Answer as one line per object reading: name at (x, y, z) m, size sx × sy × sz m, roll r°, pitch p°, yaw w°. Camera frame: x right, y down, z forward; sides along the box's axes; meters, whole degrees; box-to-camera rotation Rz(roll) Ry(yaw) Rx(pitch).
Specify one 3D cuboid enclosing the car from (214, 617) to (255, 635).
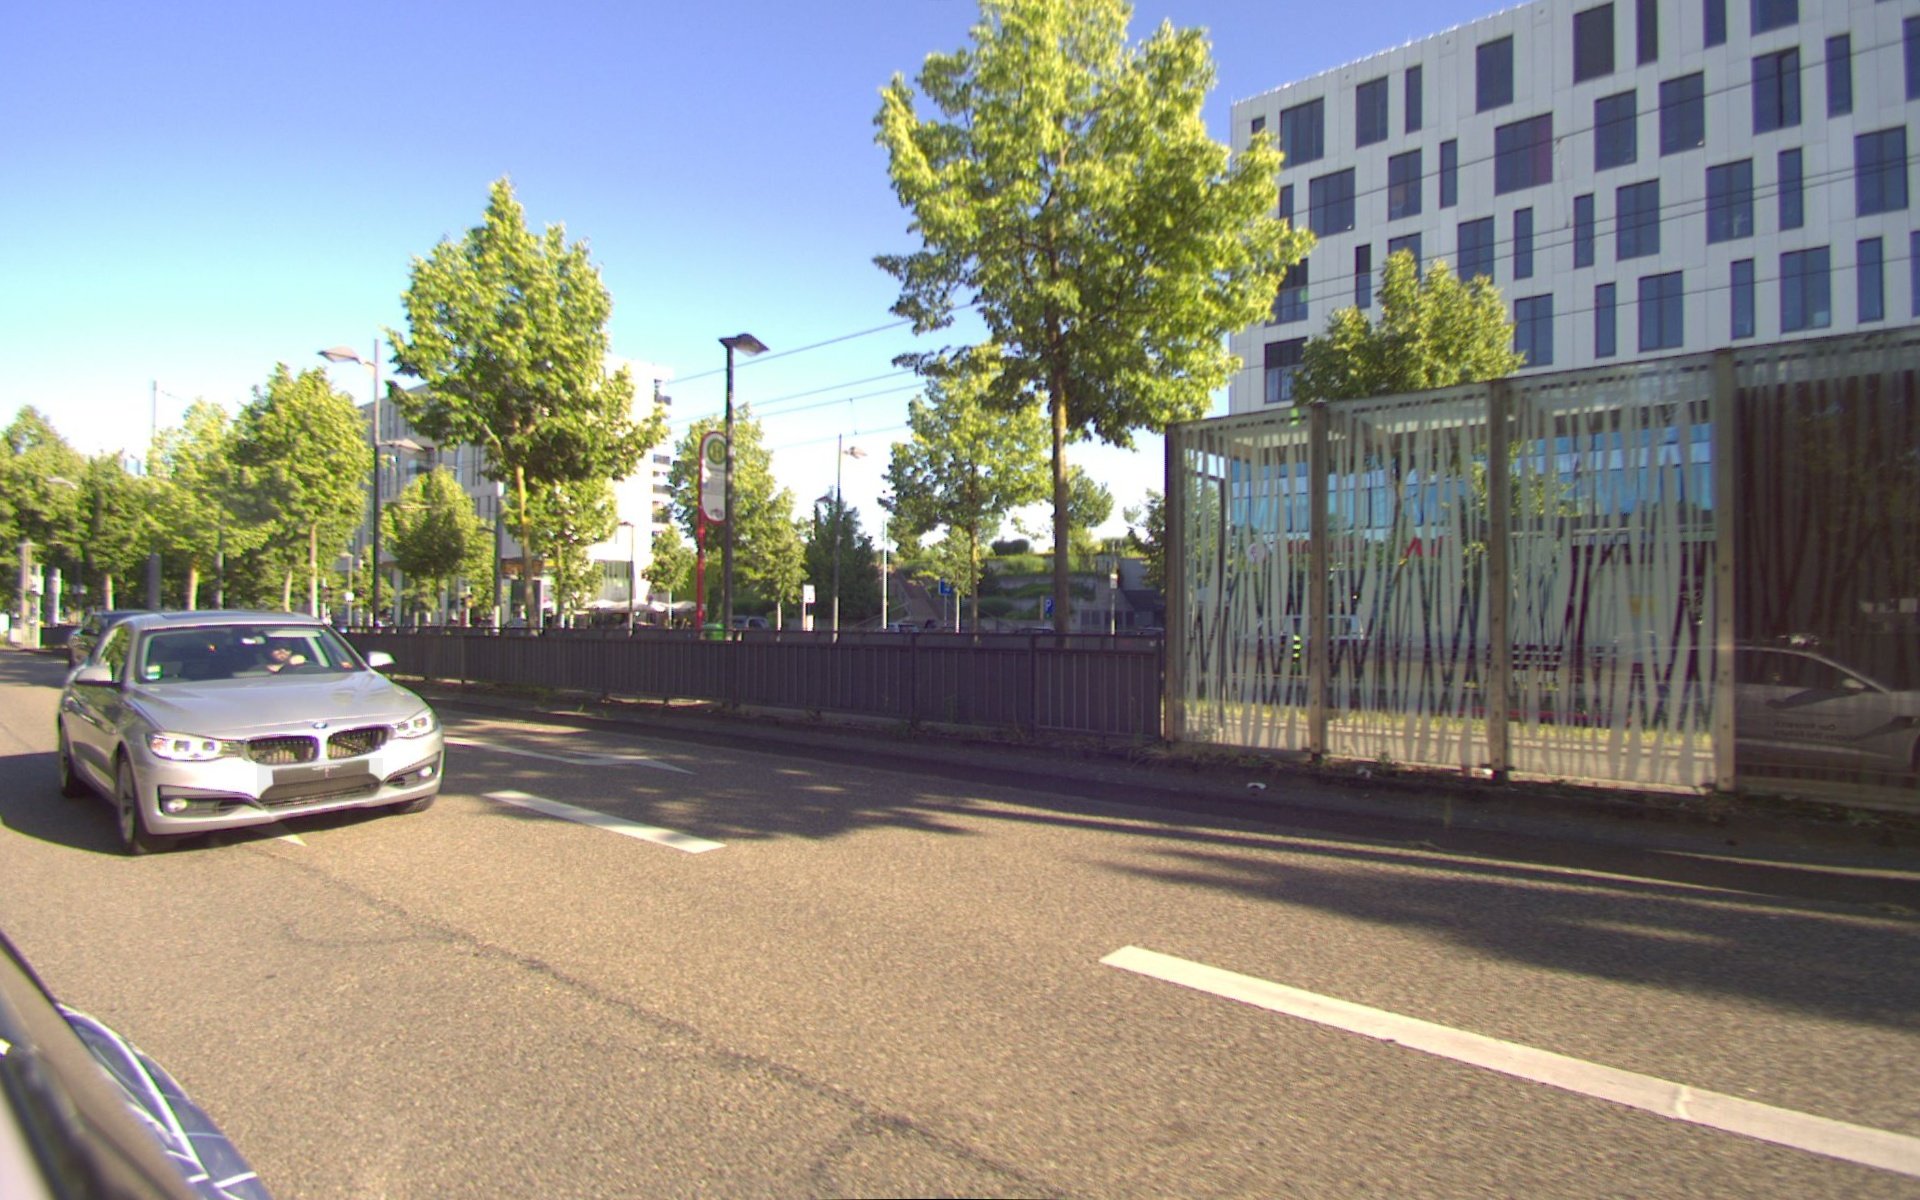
car at (-58.739, 2.116, 81.903) m, size 3.998 × 1.365 × 1.851 m, roll -1°, pitch 0°, yaw 41°

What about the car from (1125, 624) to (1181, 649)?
car at (11.831, 2.177, 61.902) m, size 1.873 × 1.365 × 3.952 m, roll -1°, pitch 0°, yaw 36°

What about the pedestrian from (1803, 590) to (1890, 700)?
pedestrian at (12.477, 0.608, 14.242) m, size 0.844 × 1.477 × 1.054 m, roll -1°, pitch -1°, yaw 45°

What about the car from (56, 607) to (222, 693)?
car at (-16.736, 0.936, 20.565) m, size 4.339 × 1.538 × 1.781 m, roll -1°, pitch 0°, yaw 39°

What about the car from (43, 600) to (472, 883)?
car at (-5.717, 0.803, 7.920) m, size 4.911 × 1.538 × 1.779 m, roll -1°, pitch 0°, yaw 43°

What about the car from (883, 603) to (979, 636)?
car at (-1.301, 0.832, 44.165) m, size 3.998 × 1.365 × 1.851 m, roll -1°, pitch 0°, yaw 41°

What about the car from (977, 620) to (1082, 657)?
car at (2.808, 1.545, 41.471) m, size 3.998 × 1.365 × 1.851 m, roll -1°, pitch 0°, yaw 41°

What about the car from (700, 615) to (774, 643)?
car at (-11.824, 1.504, 53.550) m, size 3.998 × 1.365 × 1.851 m, roll -1°, pitch 0°, yaw 41°

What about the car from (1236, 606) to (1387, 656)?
car at (11.597, 0.999, 33.546) m, size 4.399 × 1.538 × 1.781 m, roll -1°, pitch 0°, yaw 39°
